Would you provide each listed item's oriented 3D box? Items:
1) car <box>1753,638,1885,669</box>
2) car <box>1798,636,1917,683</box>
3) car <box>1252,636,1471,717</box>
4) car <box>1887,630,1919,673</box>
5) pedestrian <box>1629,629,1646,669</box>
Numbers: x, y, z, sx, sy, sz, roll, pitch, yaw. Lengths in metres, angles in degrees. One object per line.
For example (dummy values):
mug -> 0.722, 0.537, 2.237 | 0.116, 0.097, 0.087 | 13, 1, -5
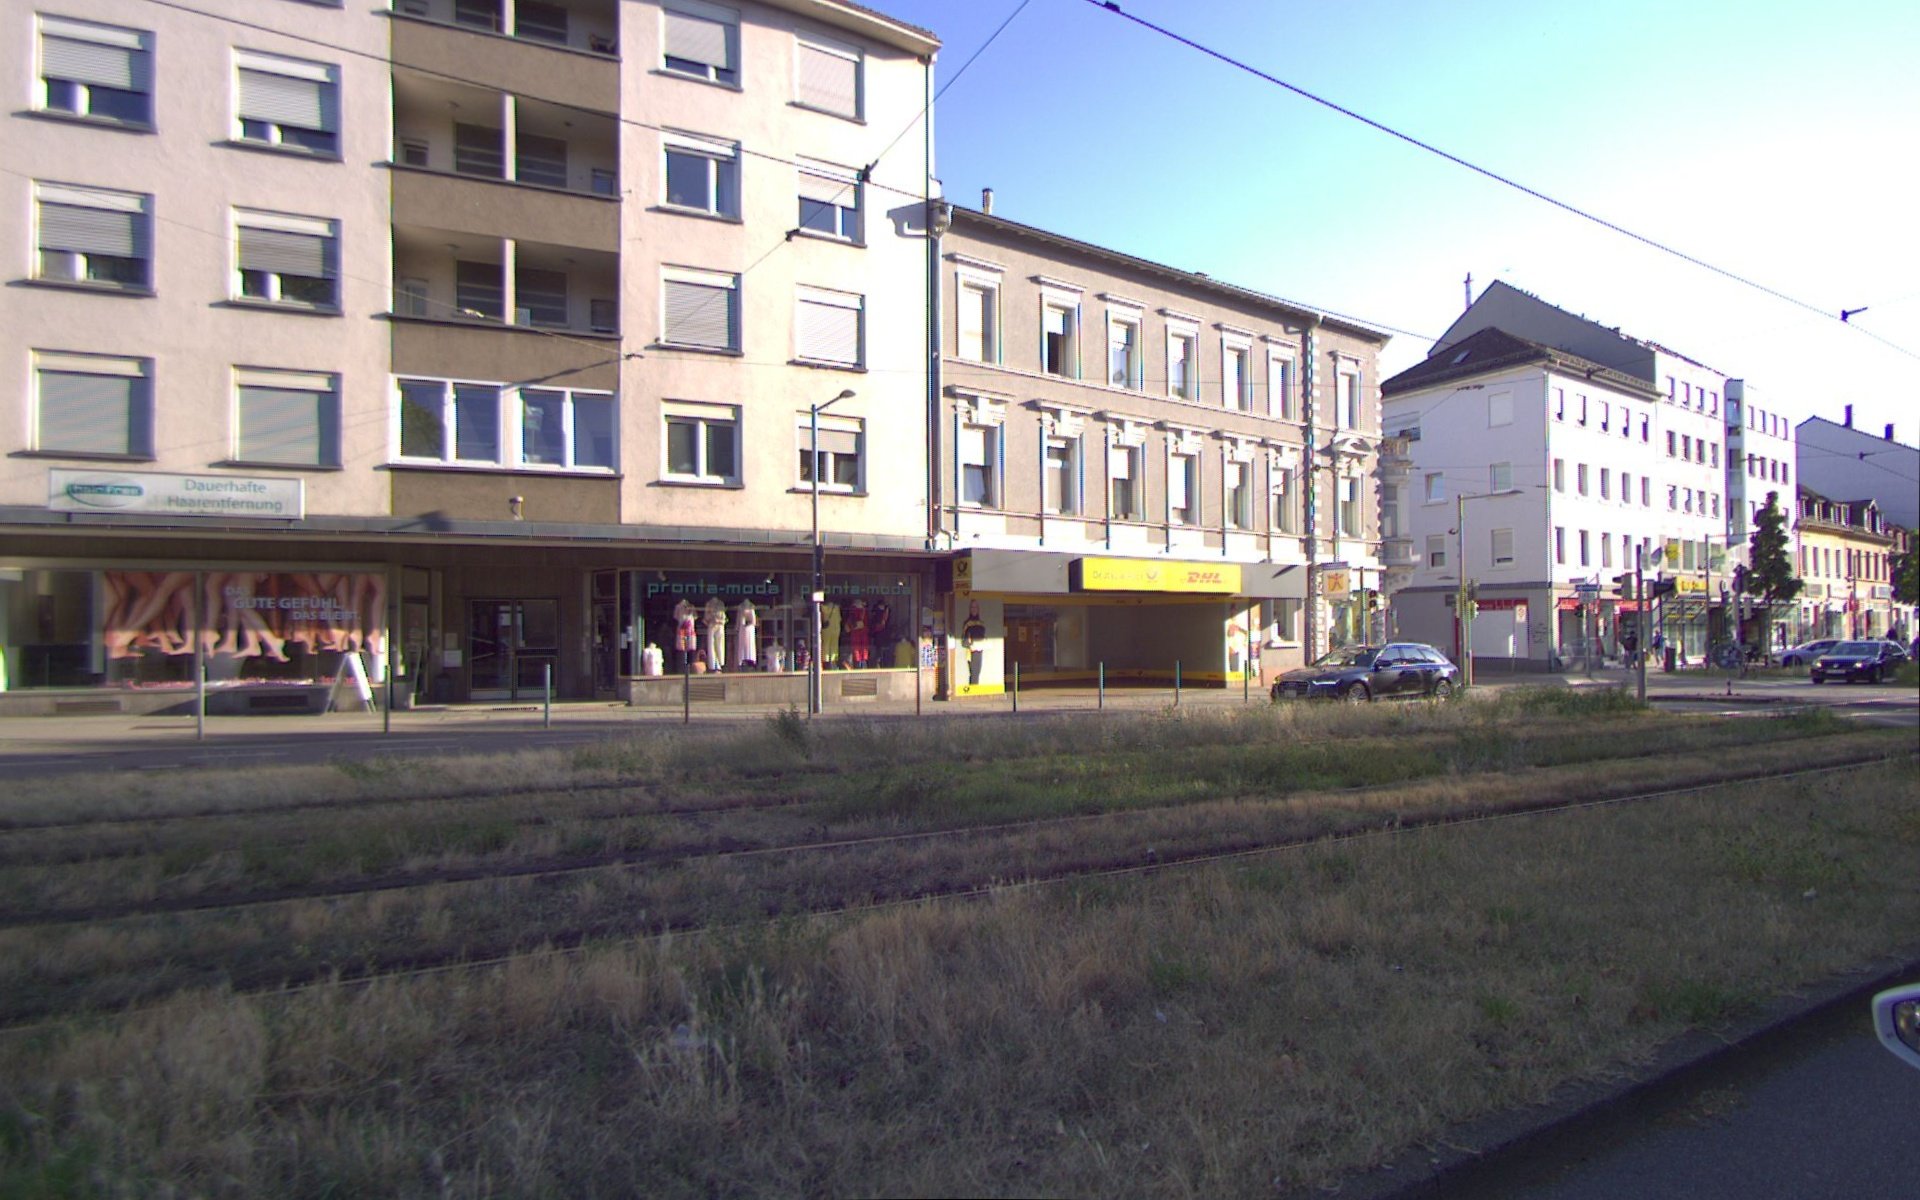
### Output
car -> 41.762, 2.576, 48.959 | 4.465, 1.431, 1.999 | 0, -2, 24
car -> 30.829, 2.028, 34.492 | 3.994, 1.469, 1.774 | 0, -3, -29
car -> 8.730, 1.582, 21.772 | 4.719, 1.579, 1.984 | 2, -2, -31
car -> 38.797, 2.032, 39.781 | 4.453, 1.636, 1.773 | 1, -1, -29
pedestrian -> 29.315, 2.109, 43.456 | 0.501, 1.736, 0.424 | 1, -2, -26
